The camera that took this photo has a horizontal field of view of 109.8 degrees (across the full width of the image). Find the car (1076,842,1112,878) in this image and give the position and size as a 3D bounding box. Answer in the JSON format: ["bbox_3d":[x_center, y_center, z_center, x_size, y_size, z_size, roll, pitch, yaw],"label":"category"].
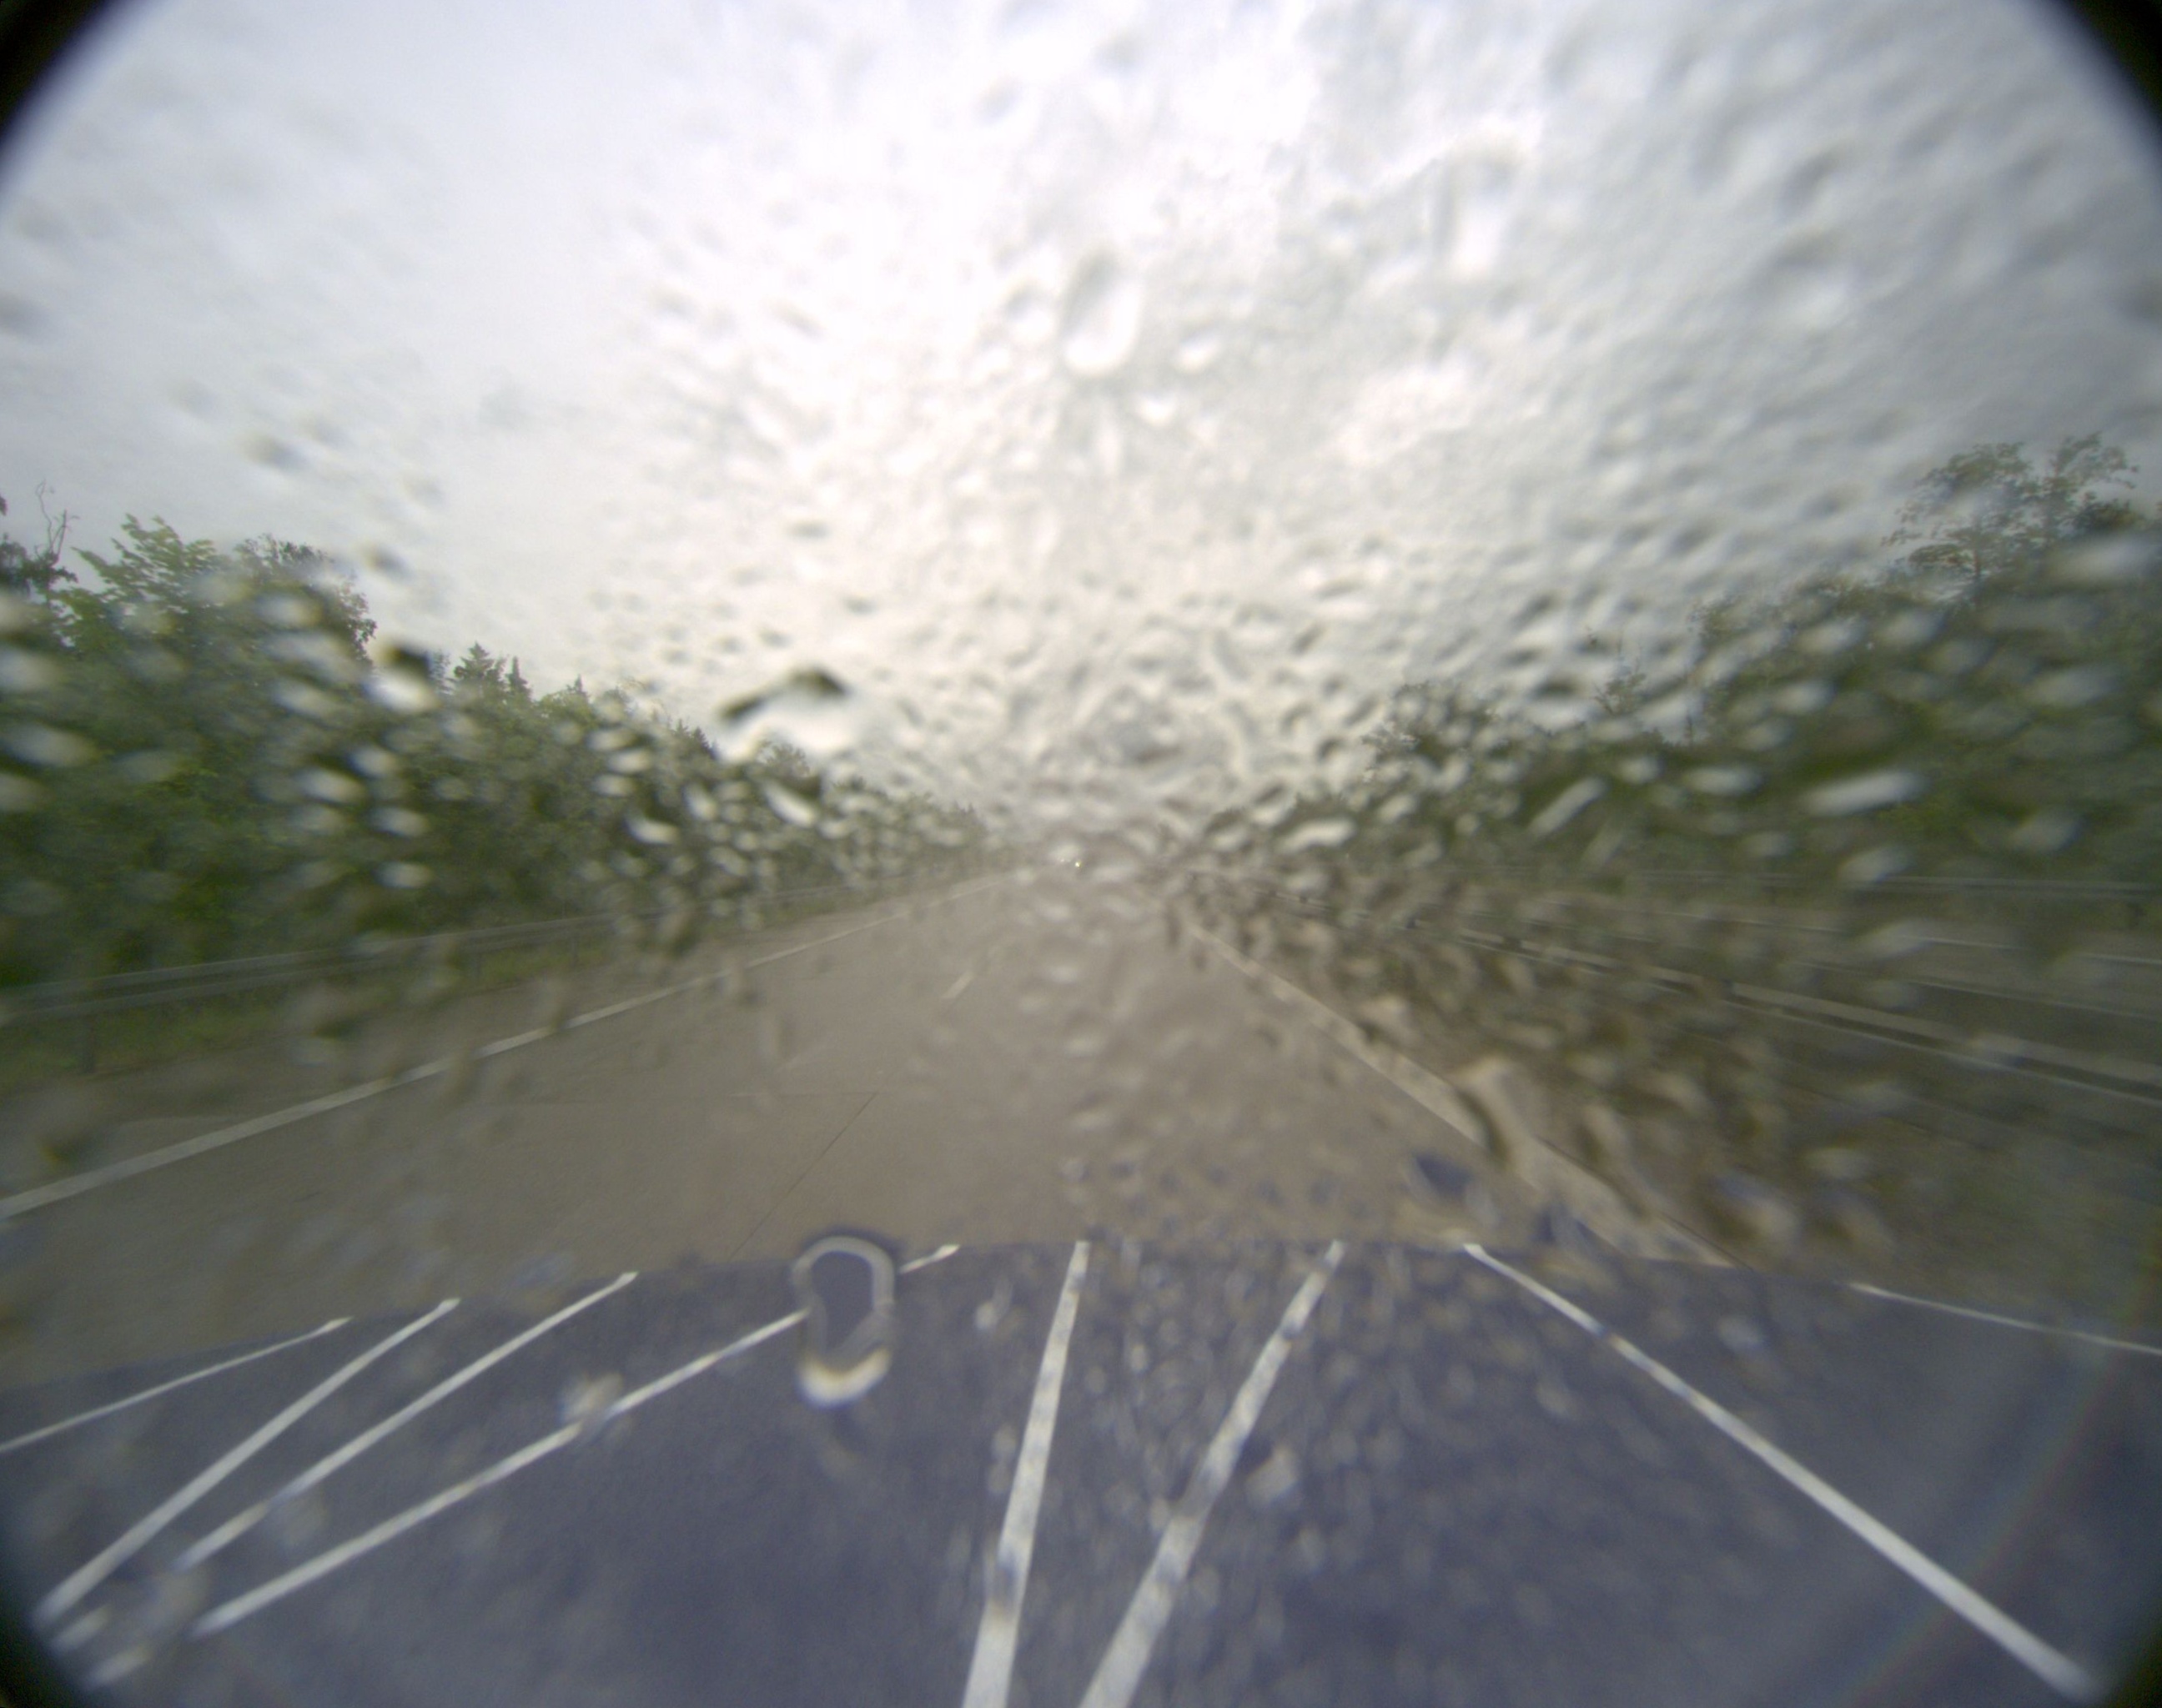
[{"bbox_3d":[0.758,0.415,46.840,1.796,2.113,4.523,1,-1,-4],"label":"car"}]

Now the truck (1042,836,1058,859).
[{"bbox_3d":[-5.769,-1.185,140.161,2.767,4.063,5.436,1,-1,-4],"label":"truck"}]

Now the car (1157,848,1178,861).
[{"bbox_3d":[10.402,0.058,91.836,1.999,1.573,3.999,-2,0,-1],"label":"car"}]
